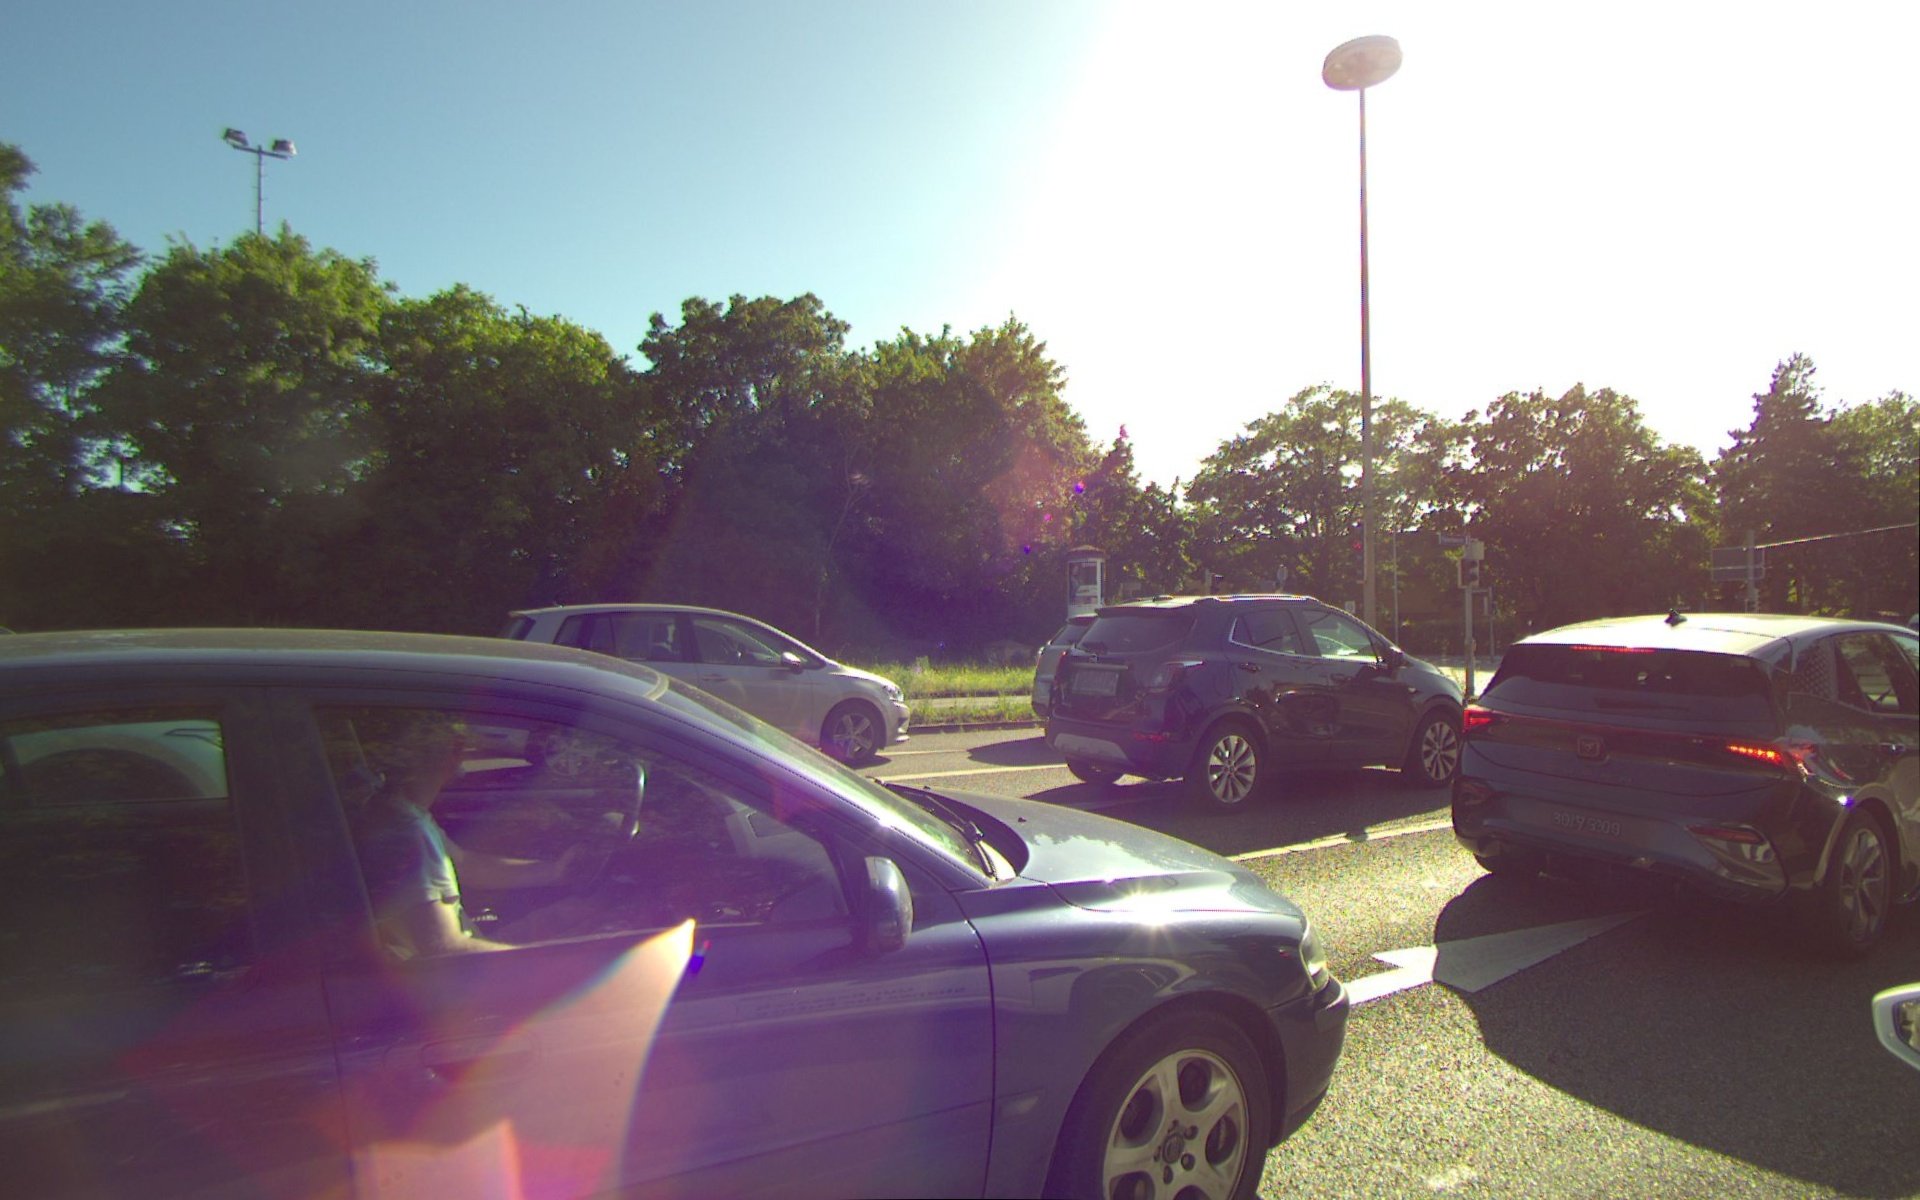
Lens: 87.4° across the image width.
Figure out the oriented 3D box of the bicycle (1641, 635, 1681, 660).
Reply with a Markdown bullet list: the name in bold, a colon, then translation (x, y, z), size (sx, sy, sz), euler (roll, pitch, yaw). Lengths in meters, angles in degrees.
- **bicycle**: translation (36.141, 2.440, 51.773), size (2.510, 1.228, 0.870), euler (1, -2, -34)

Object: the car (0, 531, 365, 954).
- **car**: translation (-5.246, 0.596, 4.508), size (4.373, 1.732, 1.984), euler (1, -2, -30)

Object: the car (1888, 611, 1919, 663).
- **car**: translation (49.476, 1.876, 50.814), size (5.934, 2.525, 2.090), euler (1, -2, -30)

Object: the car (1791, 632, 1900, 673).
- **car**: translation (32.761, 1.915, 37.151), size (4.561, 1.452, 1.678), euler (1, -2, -30)

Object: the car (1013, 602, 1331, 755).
- **car**: translation (2.823, 0.952, 13.186), size (3.956, 1.724, 1.820), euler (1, -2, -32)

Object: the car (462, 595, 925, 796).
- **car**: translation (-2.601, 0.834, 10.010), size (4.156, 1.632, 1.822), euler (1, -2, -30)

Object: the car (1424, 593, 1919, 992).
- **car**: translation (4.753, 0.826, 5.820), size (4.158, 1.601, 1.676), euler (2, -1, -30)

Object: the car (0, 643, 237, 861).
- **car**: translation (-7.901, 1.036, 6.949), size (4.499, 1.448, 1.822), euler (1, -2, -30)

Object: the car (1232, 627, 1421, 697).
- **car**: translation (8.832, 1.425, 24.114), size (4.451, 1.544, 1.880), euler (1, -2, -30)

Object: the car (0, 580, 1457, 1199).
- **car**: translation (-1.084, 0.724, 2.206), size (4.404, 1.471, 1.767), euler (2, 0, -30)

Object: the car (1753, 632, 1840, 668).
- **car**: translation (36.597, 2.164, 43.911), size (3.956, 1.529, 1.678), euler (1, -2, -30)

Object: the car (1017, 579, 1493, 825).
- **car**: translation (2.633, 0.768, 8.799), size (3.953, 1.711, 1.796), euler (1, -2, -30)

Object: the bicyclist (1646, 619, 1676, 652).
- **bicyclist**: translation (36.141, 1.814, 51.784), size (1.186, 1.670, 0.871), euler (1, -2, -32)

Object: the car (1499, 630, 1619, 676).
- **car**: translation (20.005, 1.738, 33.500), size (4.172, 1.475, 1.633), euler (1, -2, -30)
